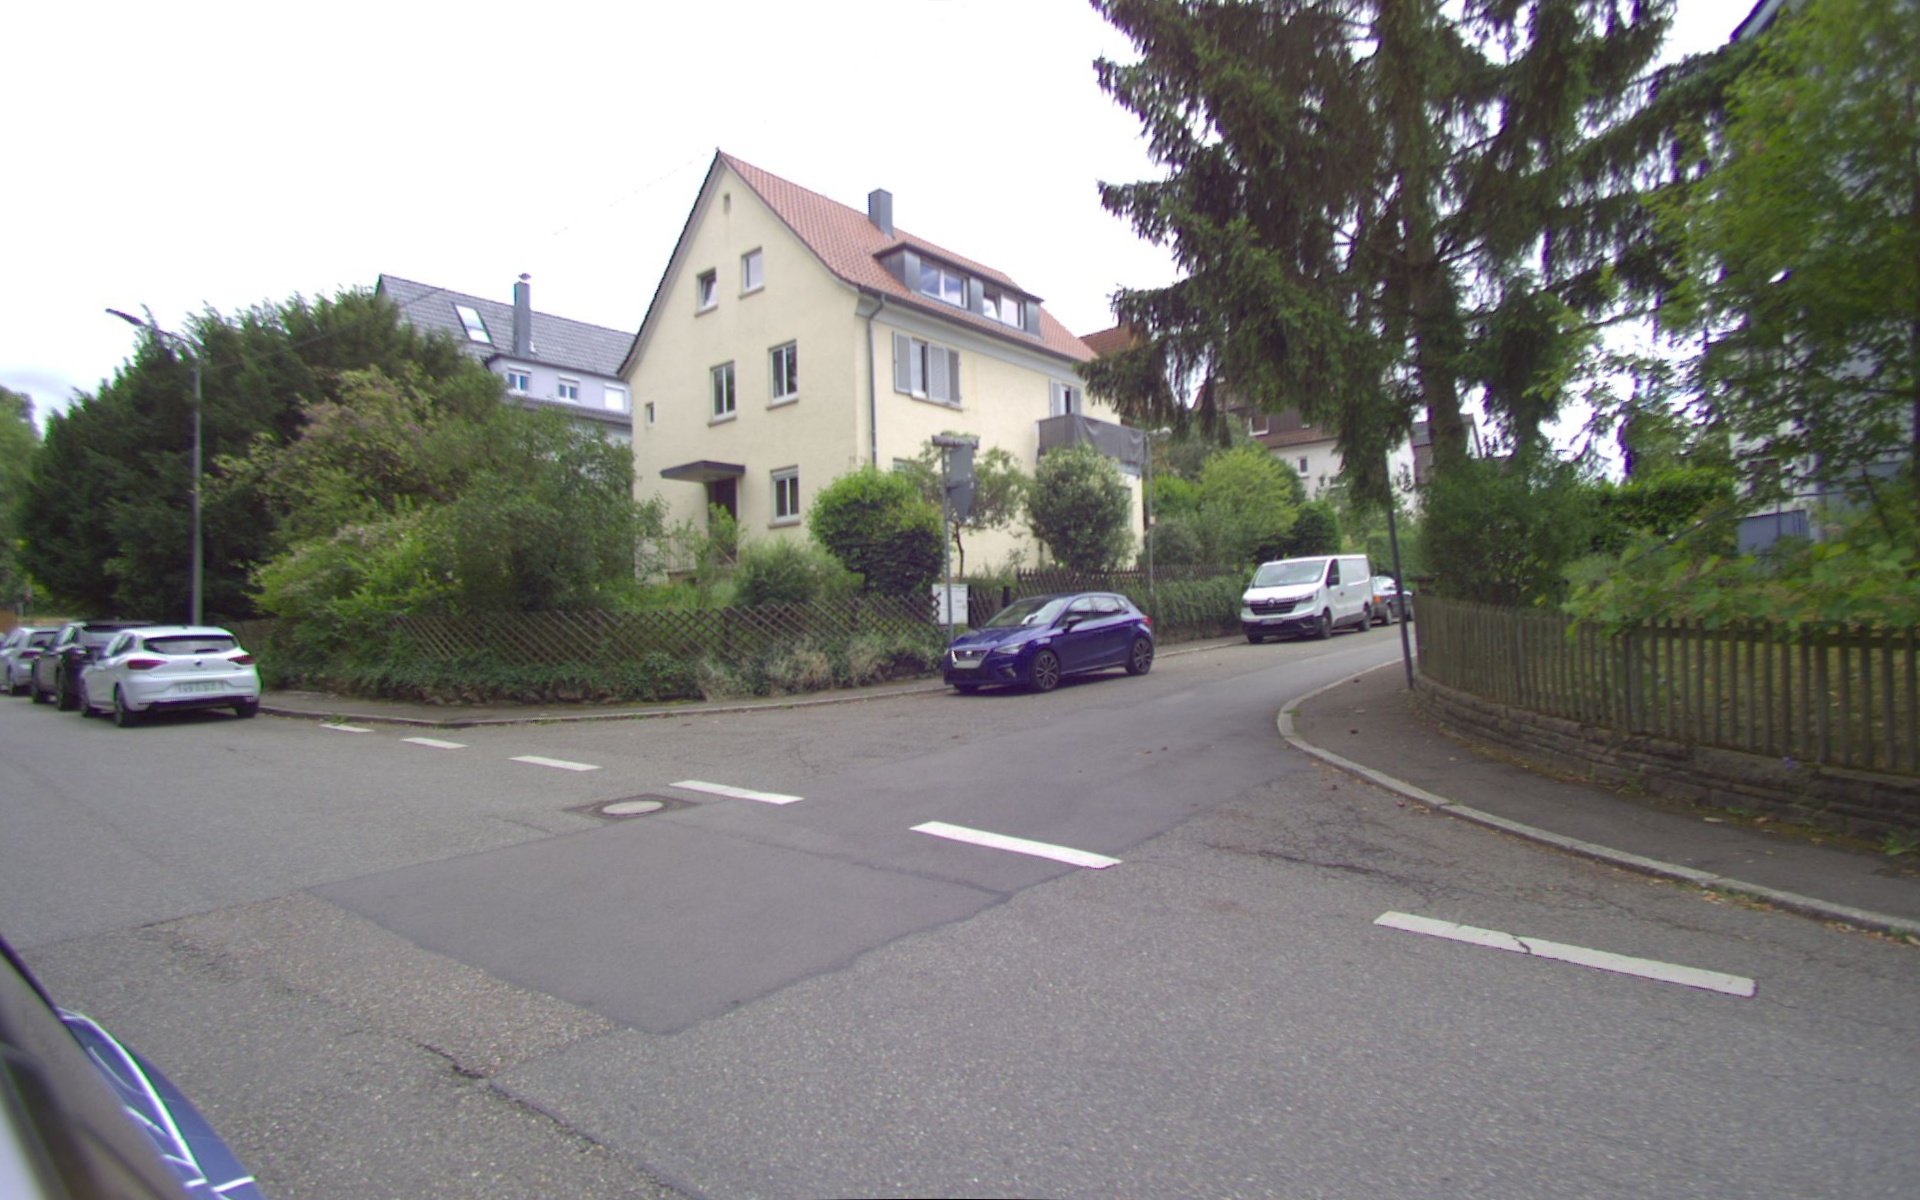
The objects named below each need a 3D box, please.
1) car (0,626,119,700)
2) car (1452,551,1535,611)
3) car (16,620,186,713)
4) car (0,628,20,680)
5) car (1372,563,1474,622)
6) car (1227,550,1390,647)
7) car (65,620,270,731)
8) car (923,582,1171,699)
[{"bbox_3d":[-20.421,1.355,22.539,4.318,1.450,1.766,-2,-1,38],"label":"car"},{"bbox_3d":[21.523,-0.784,40.730,1.928,2.148,4.060,-7,-3,40],"label":"car"},{"bbox_3d":[-16.092,1.173,18.898,4.011,1.511,1.766,-2,-1,40],"label":"car"},{"bbox_3d":[-28.445,1.564,28.956,3.782,1.450,1.720,-2,-1,38],"label":"car"},{"bbox_3d":[15.598,-0.280,33.990,1.928,1.669,4.060,-7,-3,40],"label":"car"},{"bbox_3d":[8.529,-0.088,24.511,1.928,2.013,4.868,-7,-3,40],"label":"car"},{"bbox_3d":[-12.642,1.113,16.062,4.011,1.511,1.766,-2,-1,40],"label":"car"},{"bbox_3d":[1.471,0.560,15.967,1.723,1.494,3.942,-3,0,45],"label":"car"}]
